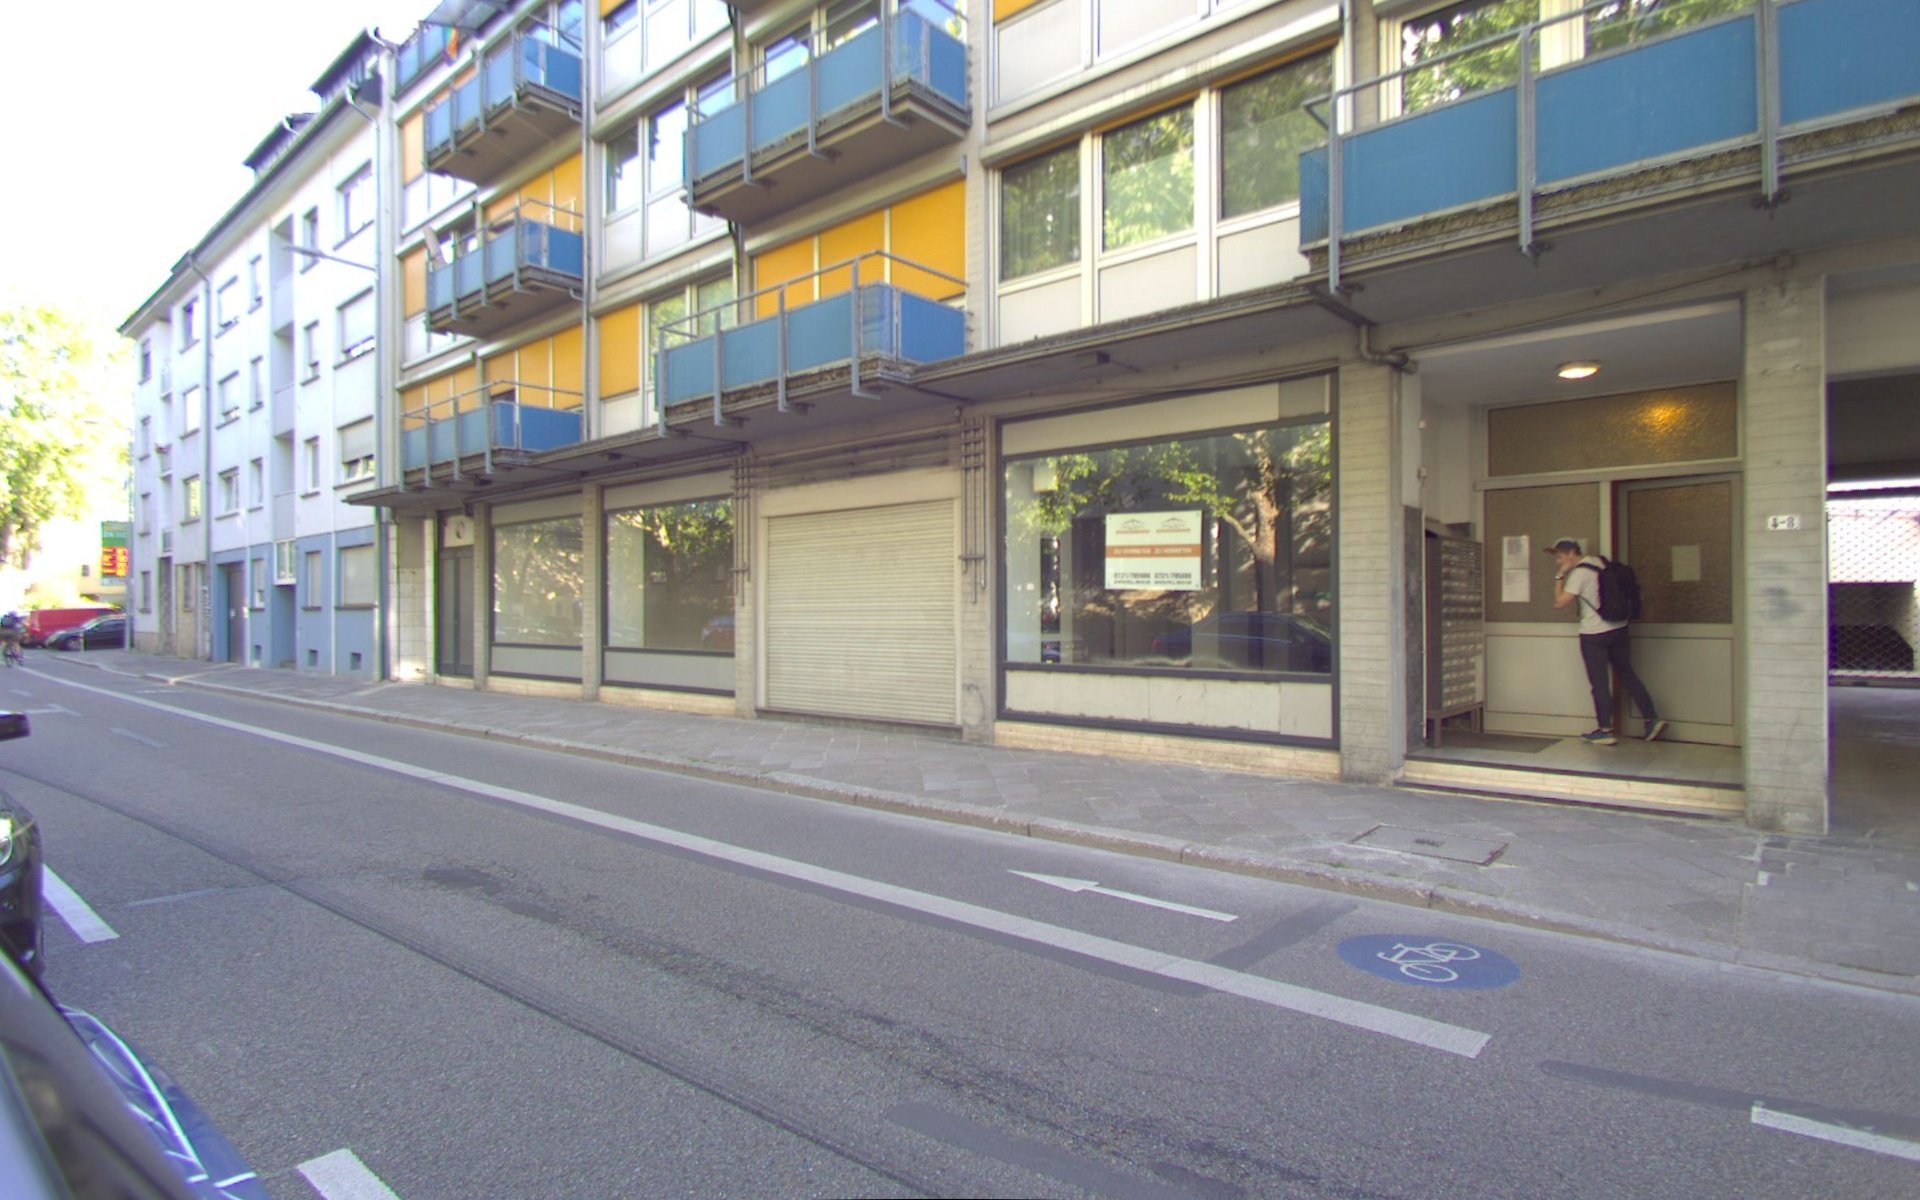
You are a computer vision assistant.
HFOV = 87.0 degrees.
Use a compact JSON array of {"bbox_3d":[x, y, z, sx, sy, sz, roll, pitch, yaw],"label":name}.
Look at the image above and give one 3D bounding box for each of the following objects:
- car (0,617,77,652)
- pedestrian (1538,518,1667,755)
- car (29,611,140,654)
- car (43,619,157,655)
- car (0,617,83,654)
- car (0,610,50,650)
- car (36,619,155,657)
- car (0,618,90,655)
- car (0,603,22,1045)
[{"bbox_3d":[-55.616,2.063,60.572,2.000,1.962,3.944,-1,0,42],"label":"car"},{"bbox_3d":[5.429,0.294,8.560,0.573,1.894,0.787,-1,0,-44],"label":"pedestrian"},{"bbox_3d":[-43.444,1.573,50.259,2.000,1.962,3.944,-1,0,42],"label":"car"},{"bbox_3d":[-41.189,1.743,48.535,2.000,1.564,3.944,-1,0,42],"label":"car"},{"bbox_3d":[-53.535,2.036,58.620,2.000,1.962,3.944,-1,0,42],"label":"car"},{"bbox_3d":[-62.814,1.957,66.792,2.000,2.538,3.944,-1,0,42],"label":"car"},{"bbox_3d":[-39.771,1.724,46.613,2.000,1.564,3.944,-1,0,42],"label":"car"},{"bbox_3d":[-51.584,2.011,56.837,2.000,1.962,3.944,-1,0,42],"label":"car"},{"bbox_3d":[-5.534,0.806,4.289,4.479,1.512,1.842,-1,-1,41],"label":"car"}]
